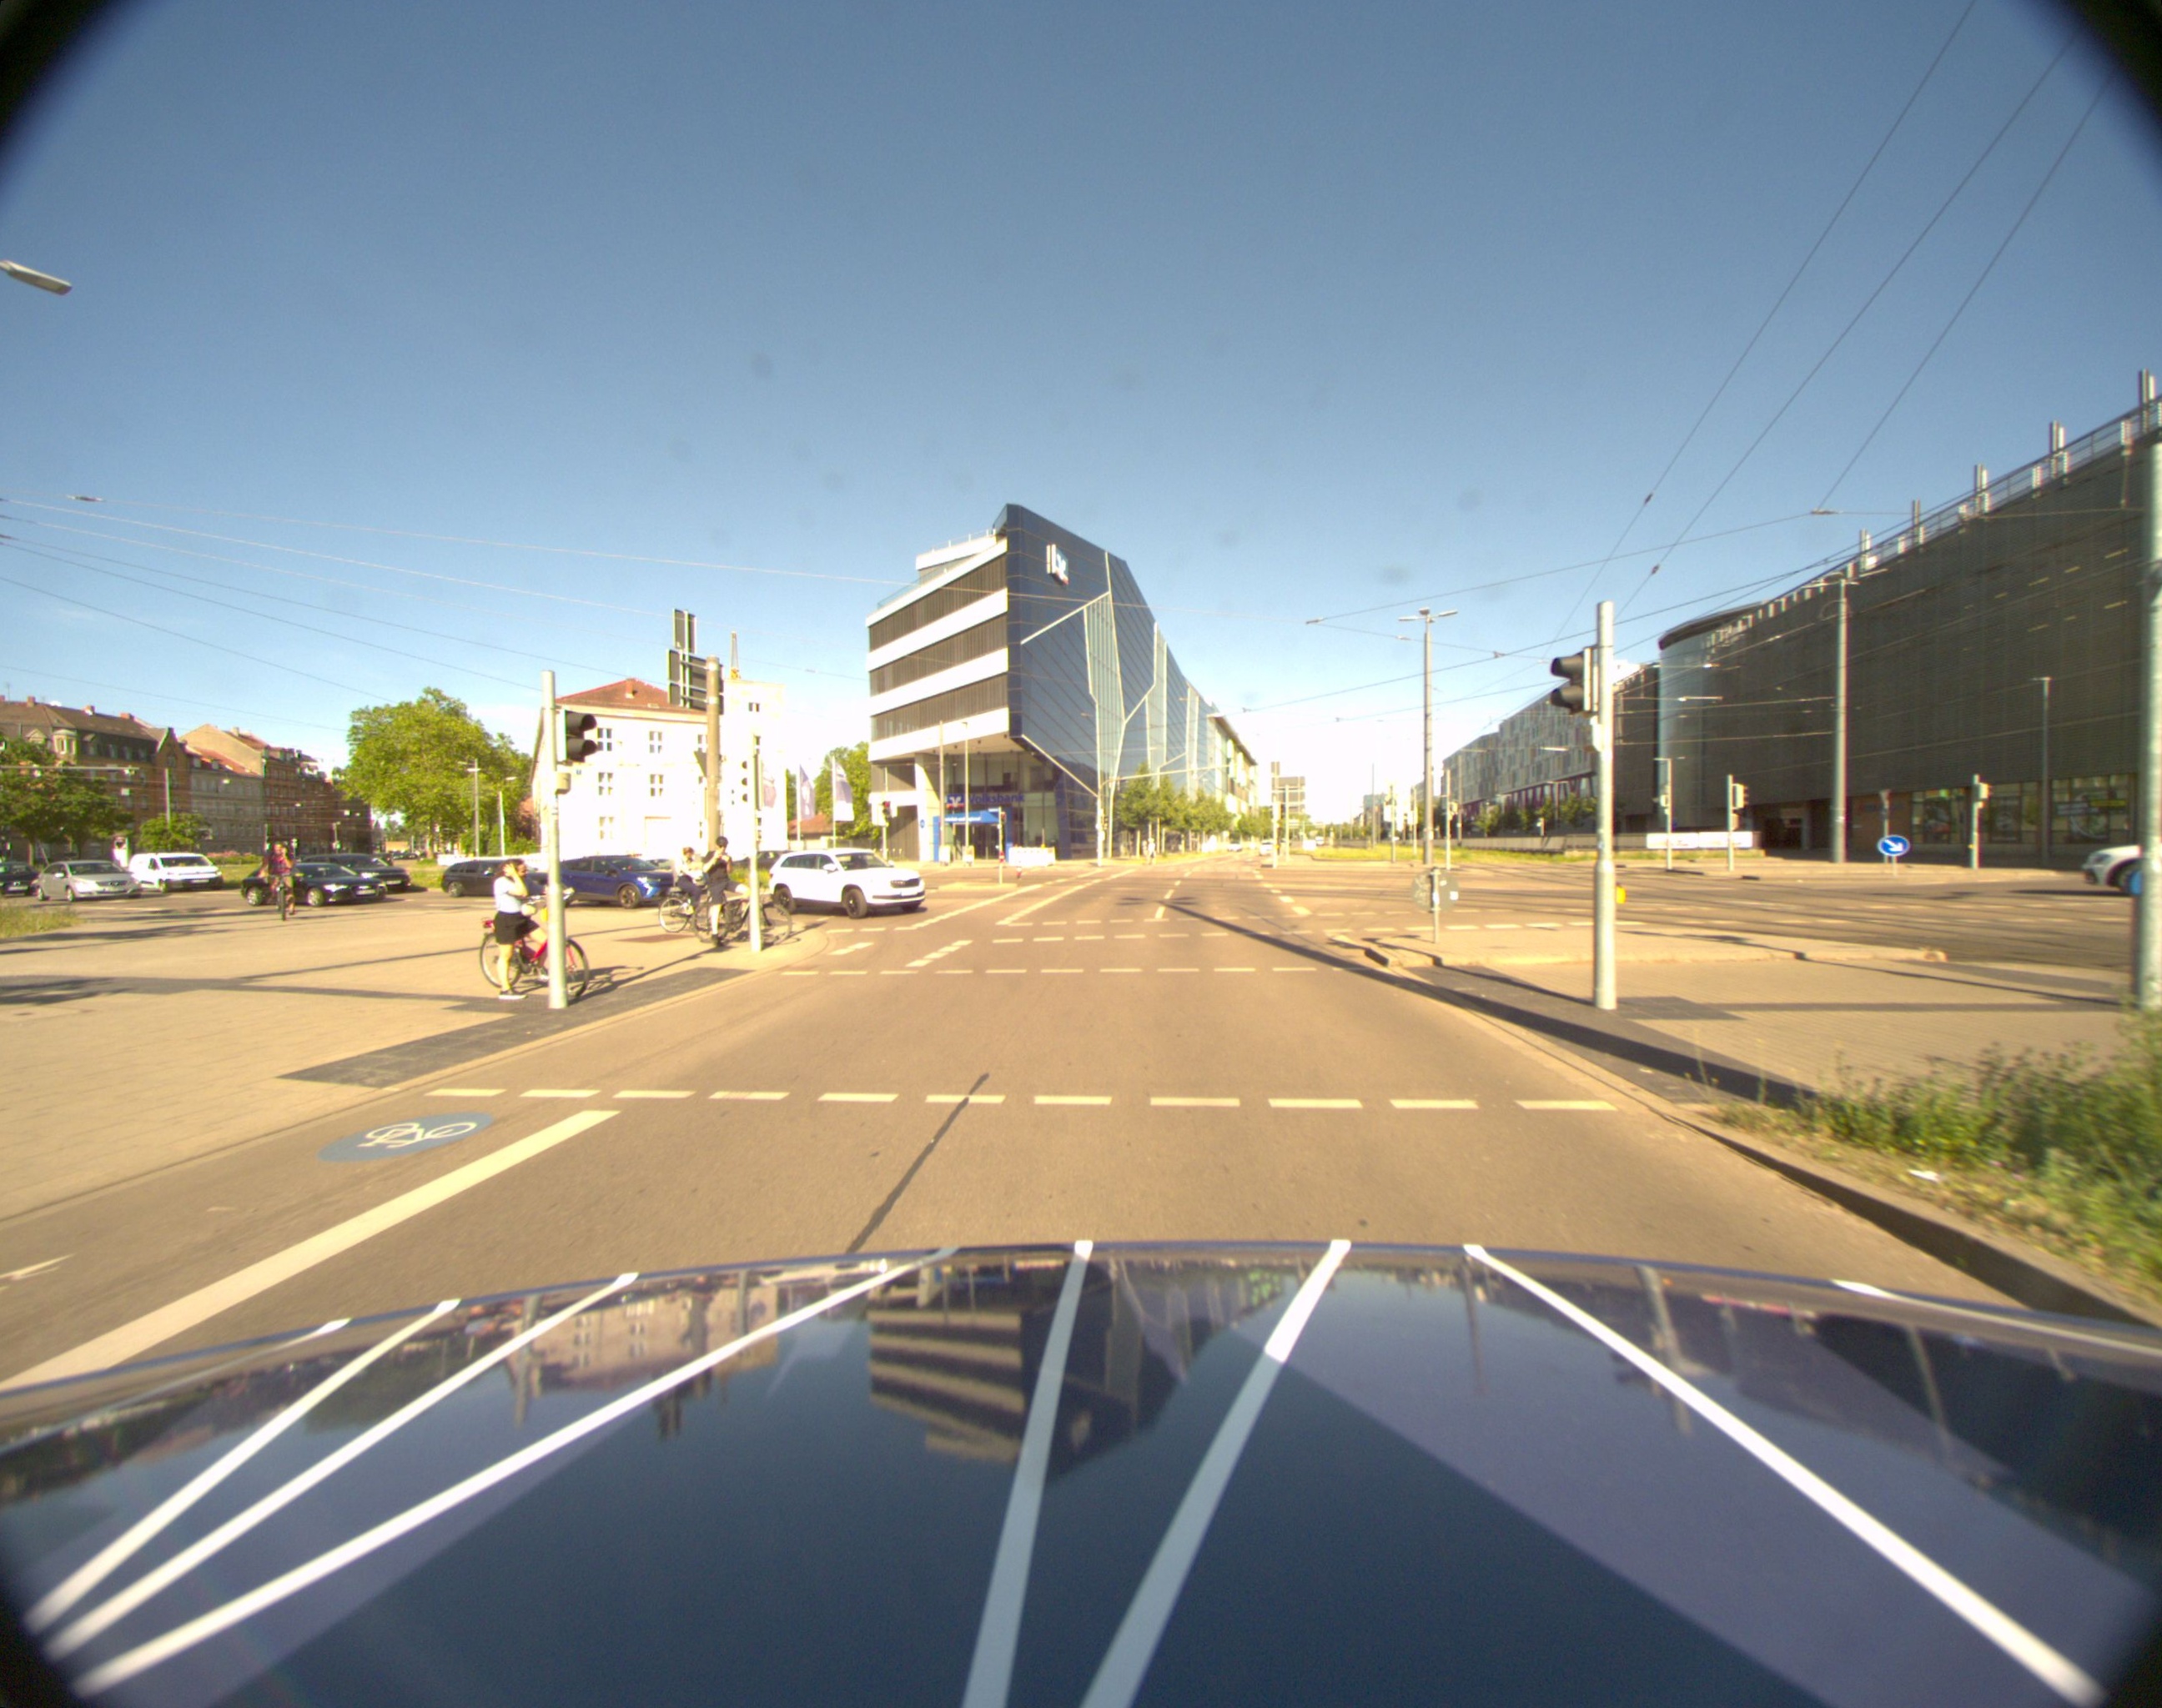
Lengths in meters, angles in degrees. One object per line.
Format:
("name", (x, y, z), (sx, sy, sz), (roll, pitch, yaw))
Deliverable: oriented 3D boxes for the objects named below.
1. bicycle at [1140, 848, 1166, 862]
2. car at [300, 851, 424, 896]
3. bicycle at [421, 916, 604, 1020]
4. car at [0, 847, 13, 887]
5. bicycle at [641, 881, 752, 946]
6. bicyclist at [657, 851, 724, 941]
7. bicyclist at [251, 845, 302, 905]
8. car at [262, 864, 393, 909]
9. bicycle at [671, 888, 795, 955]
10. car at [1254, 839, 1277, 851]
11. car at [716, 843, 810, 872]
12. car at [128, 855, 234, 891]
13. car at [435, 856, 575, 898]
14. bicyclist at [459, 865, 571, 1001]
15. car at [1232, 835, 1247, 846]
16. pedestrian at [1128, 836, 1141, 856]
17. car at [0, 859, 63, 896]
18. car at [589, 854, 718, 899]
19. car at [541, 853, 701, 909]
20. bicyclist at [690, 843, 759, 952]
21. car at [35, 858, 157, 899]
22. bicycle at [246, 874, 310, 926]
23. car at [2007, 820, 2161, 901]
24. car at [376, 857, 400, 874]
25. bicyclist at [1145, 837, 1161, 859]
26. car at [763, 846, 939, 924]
("bicycle", (4.655, 0.068, 48.895), (0.768, 0.835, 2.572), (0, 2, 27))
("car", (-29.300, 0.758, 30.983), (4.318, 1.675, 1.771), (0, 3, 19))
("bicycle", (-6.218, 1.214, 8.333), (1.704, 0.949, 0.697), (1, 1, 15))
("car", (-55.092, 0.639, 37.897), (4.641, 1.971, 1.878), (0, 2, 38))
("bicycle", (-7.293, 1.101, 14.407), (2.006, 1.098, 0.698), (1, 0, 22))
("bicyclist", (-7.435, 0.773, 14.475), (1.001, 1.645, 0.596), (2, 2, 21))
("bicyclist", (-18.769, 0.482, 17.735), (0.736, 1.369, 0.698), (2, 1, 34))
("car", (-26.169, 1.091, 26.389), (3.829, 1.425, 1.588), (0, 2, 18))
("bicycle", (-5.890, 1.124, 12.887), (1.893, 1.032, 0.607), (1, 1, 10))
("car", (17.925, -0.913, 73.697), (1.996, 1.084, 4.004), (0, 1, 17))
("car", (-17.648, 0.172, 42.312), (4.305, 1.491, 2.000), (-1, 1, 3))
("car", (-41.819, 0.842, 35.309), (3.991, 1.547, 1.877), (0, 2, 20))
("car", (-21.697, 0.833, 28.659), (4.475, 1.423, 1.843), (0, 3, 16))
("bicyclist", (-6.145, 0.825, 8.268), (0.825, 1.395, 0.590), (1, 1, 15))
("car", (24.993, -2.126, 119.927), (1.996, 1.718, 4.004), (0, 1, 17))
("pedestrian", (4.232, -0.634, 59.607), (0.855, 1.547, 0.614), (0, 2, 21))
("car", (-48.170, 1.008, 34.271), (3.990, 1.547, 1.878), (0, 2, 25))
("car", (-15.163, 0.783, 27.030), (3.828, 1.423, 1.670), (0, 5, 15))
("car", (-13.984, 0.793, 23.157), (3.992, 1.547, 1.876), (0, 2, 15))
("bicyclist", (-6.040, 0.716, 12.904), (0.905, 1.788, 0.550), (1, 1, 10))
("car", (-39.862, 0.962, 30.761), (3.991, 1.547, 1.877), (0, 2, 21))
("bicycle", (-18.706, 1.038, 17.686), (2.005, 1.098, 0.698), (1, 0, 34))
("car", (23.055, 0.116, 15.154), (1.816, 1.643, 5.533), (-2, 1, -26))
("car", (-77.659, 1.307, 85.190), (1.774, 1.740, 3.988), (-2, 2, -40))
("bicyclist", (4.631, -0.394, 48.826), (0.760, 1.402, 0.773), (0, 2, 27))
("car", (-5.792, 0.673, 18.976), (4.325, 1.621, 1.878), (1, 4, 36))
